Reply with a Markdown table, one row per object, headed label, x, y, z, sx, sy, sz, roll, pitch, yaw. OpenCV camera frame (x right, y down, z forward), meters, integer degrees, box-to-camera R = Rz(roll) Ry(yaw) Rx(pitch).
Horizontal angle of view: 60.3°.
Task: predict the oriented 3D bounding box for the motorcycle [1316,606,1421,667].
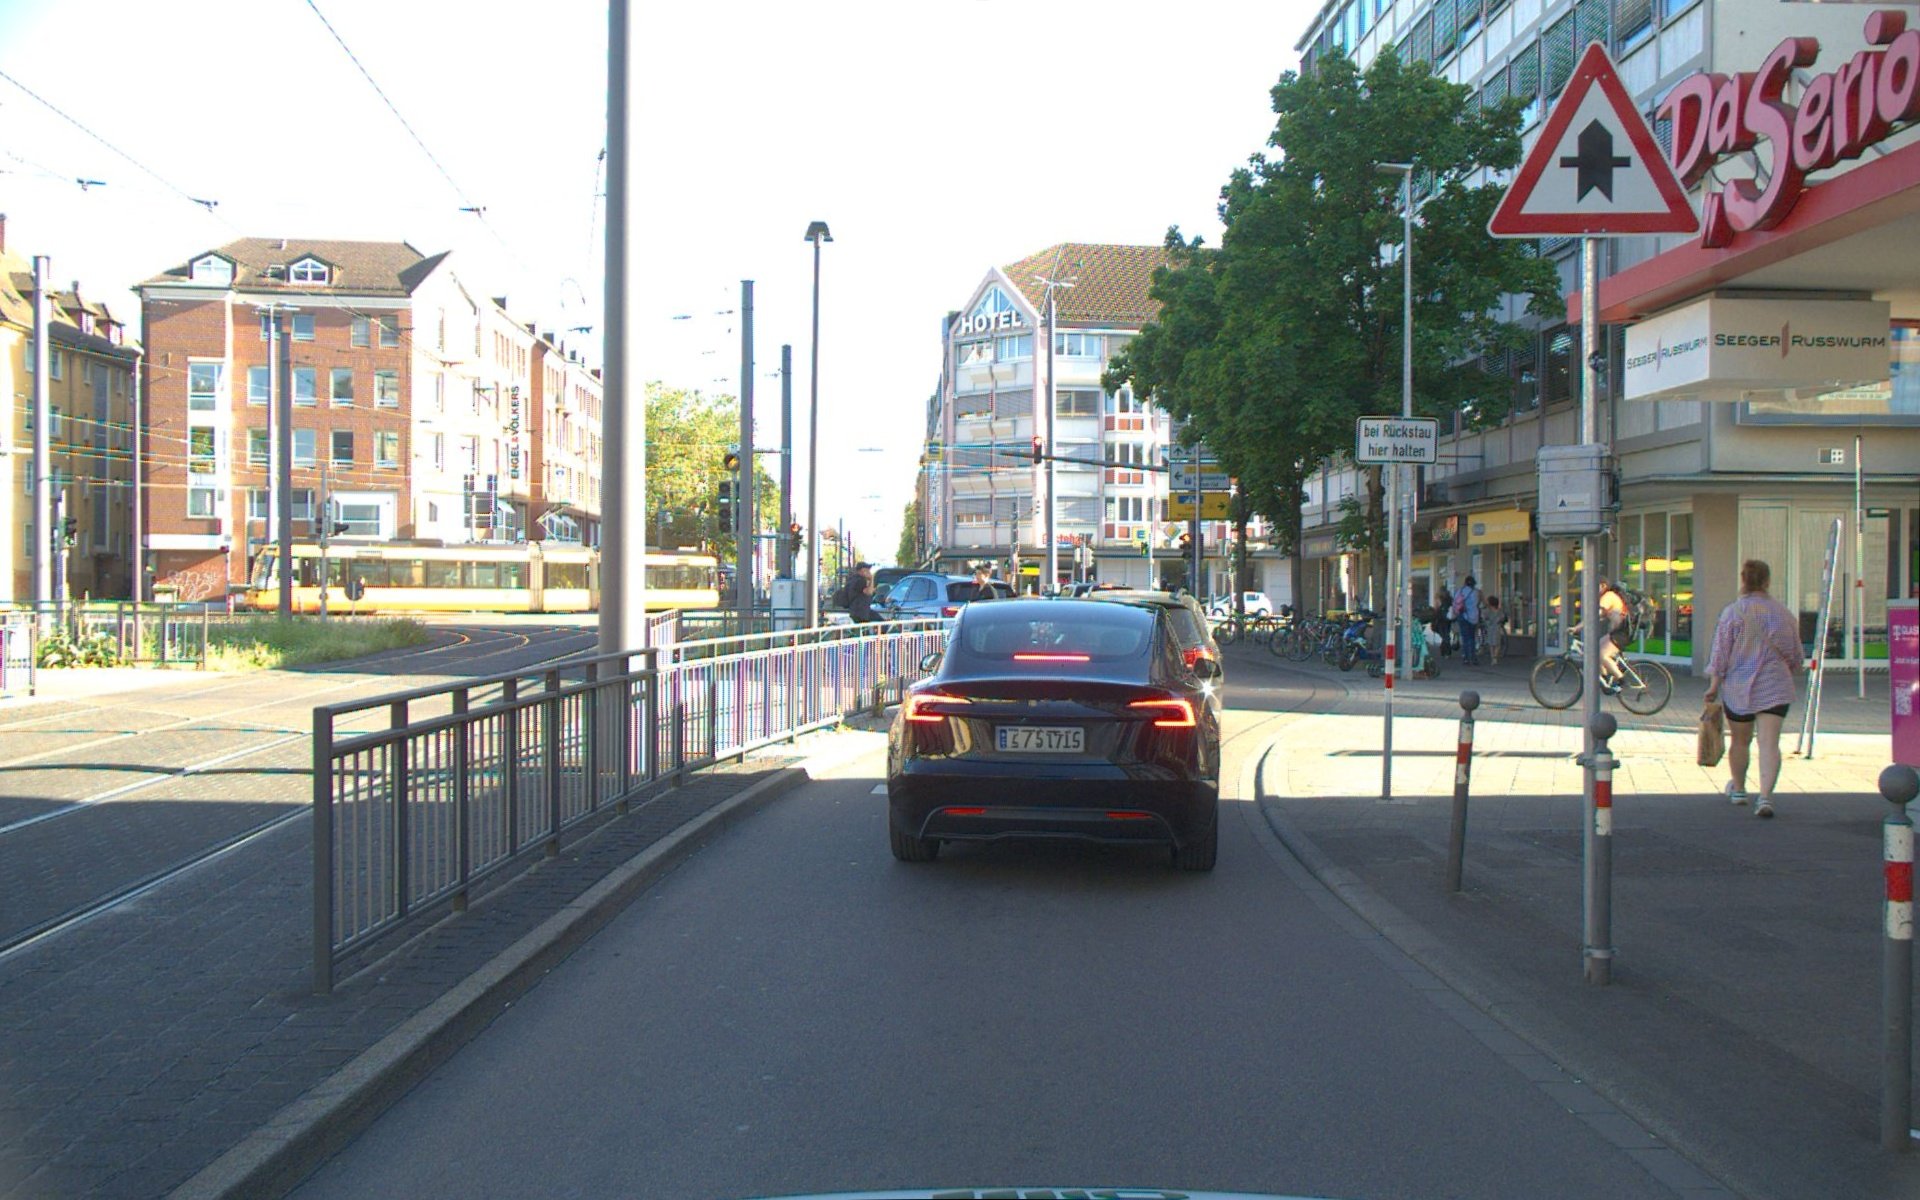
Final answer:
| label | x | y | z | sx | sy | sz | roll | pitch | yaw |
| --- | --- | --- | --- | --- | --- | --- | --- | --- | --- |
| motorcycle | 8.287 | 0.735 | 33.597 | 1.951 | 1.147 | 0.596 | 2 | 0 | -2 |

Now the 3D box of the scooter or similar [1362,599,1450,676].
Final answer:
| label | x | y | z | sx | sy | sz | roll | pitch | yaw |
| --- | --- | --- | --- | --- | --- | --- | --- | --- | --- |
| scooter or similar | 7.861 | 0.661 | 29.146 | 1.392 | 1.340 | 0.690 | 1 | -2 | -28 |

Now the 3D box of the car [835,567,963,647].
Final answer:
| label | x | y | z | sx | sy | sz | roll | pitch | yaw |
| --- | --- | --- | --- | --- | --- | --- | --- | --- | --- |
| car | -1.358 | 0.123 | 34.999 | 1.794 | 1.545 | 4.201 | 2 | 0 | -15 |

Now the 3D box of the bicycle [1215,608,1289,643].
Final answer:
| label | x | y | z | sx | sy | sz | roll | pitch | yaw |
| --- | --- | --- | --- | --- | --- | --- | --- | --- | --- |
| bicycle | 7.906 | 0.693 | 44.803 | 1.885 | 0.906 | 0.526 | 1 | 0 | -1 |

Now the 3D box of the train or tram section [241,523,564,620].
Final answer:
| label | x | y | z | sx | sy | sz | roll | pitch | yaw |
| --- | --- | --- | --- | --- | --- | --- | --- | --- | --- |
| train or tram section | -24.841 | -1.149 | 74.913 | 14.085 | 3.780 | 2.639 | 2 | 0 | -45 |

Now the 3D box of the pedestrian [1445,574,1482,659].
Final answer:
| label | x | y | z | sx | sy | sz | roll | pitch | yaw |
| --- | --- | --- | --- | --- | --- | --- | --- | --- | --- |
| pedestrian | 10.016 | 0.329 | 32.930 | 0.583 | 1.670 | 0.466 | 0 | 0 | -1 |

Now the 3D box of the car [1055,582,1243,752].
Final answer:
| label | x | y | z | sx | sy | sz | roll | pitch | yaw |
| --- | --- | --- | --- | --- | --- | --- | --- | --- | --- |
| car | 1.968 | 0.574 | 16.764 | 1.618 | 1.443 | 4.003 | 2 | 1 | 8 |

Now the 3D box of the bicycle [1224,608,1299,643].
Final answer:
| label | x | y | z | sx | sy | sz | roll | pitch | yaw |
| --- | --- | --- | --- | --- | --- | --- | --- | --- | --- |
| bicycle | 7.988 | 0.673 | 43.820 | 1.885 | 0.906 | 0.526 | 1 | 0 | -1 |

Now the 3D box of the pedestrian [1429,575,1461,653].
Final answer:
| label | x | y | z | sx | sy | sz | roll | pitch | yaw |
| --- | --- | --- | --- | --- | --- | --- | --- | --- | --- |
| pedestrian | 10.586 | 0.300 | 36.102 | 0.520 | 1.670 | 0.606 | 0 | 0 | -1 |

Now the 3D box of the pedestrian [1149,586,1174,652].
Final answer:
| label | x | y | z | sx | sy | sz | roll | pitch | yaw |
| --- | --- | --- | --- | --- | --- | --- | --- | --- | --- |
| pedestrian | 5.331 | 0.495 | 43.728 | 0.550 | 1.712 | 0.750 | 1 | 0 | 3 |

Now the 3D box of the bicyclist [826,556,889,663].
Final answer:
| label | x | y | z | sx | sy | sz | roll | pitch | yaw |
| --- | --- | --- | --- | --- | --- | --- | --- | --- | --- |
| bicyclist | -1.518 | 0.137 | 24.443 | 0.821 | 1.526 | 0.559 | 2 | 0 | -10 |

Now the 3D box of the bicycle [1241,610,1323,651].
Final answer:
| label | x | y | z | sx | sy | sz | roll | pitch | yaw |
| --- | --- | --- | --- | --- | --- | --- | --- | --- | --- |
| bicycle | 7.907 | 0.737 | 40.647 | 1.885 | 0.967 | 0.526 | 1 | 0 | -1 |

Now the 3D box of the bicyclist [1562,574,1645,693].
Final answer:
| label | x | y | z | sx | sy | sz | roll | pitch | yaw |
| --- | --- | --- | --- | --- | --- | --- | --- | --- | --- |
| bicyclist | 8.259 | 0.422 | 21.263 | 0.888 | 1.463 | 0.629 | 2 | 0 | 16 |

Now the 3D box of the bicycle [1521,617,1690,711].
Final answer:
| label | x | y | z | sx | sy | sz | roll | pitch | yaw |
| --- | --- | --- | --- | --- | --- | --- | --- | --- | --- |
| bicycle | 8.277 | 0.807 | 21.295 | 1.931 | 1.091 | 0.775 | 2 | 0 | 17 |

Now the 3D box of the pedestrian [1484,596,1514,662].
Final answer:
| label | x | y | z | sx | sy | sz | roll | pitch | yaw |
| --- | --- | --- | --- | --- | --- | --- | --- | --- | --- |
| pedestrian | 10.724 | 0.564 | 32.892 | 0.411 | 1.303 | 0.531 | 0 | 0 | -1 |

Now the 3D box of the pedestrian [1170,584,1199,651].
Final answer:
| label | x | y | z | sx | sy | sz | roll | pitch | yaw |
| --- | --- | --- | --- | --- | --- | --- | --- | --- | --- |
| pedestrian | 5.619 | 0.434 | 41.438 | 0.616 | 1.642 | 0.643 | 1 | 0 | 1 |

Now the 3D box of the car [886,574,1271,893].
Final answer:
| label | x | y | z | sx | sy | sz | roll | pitch | yaw |
| --- | --- | --- | --- | --- | --- | --- | --- | --- | --- |
| car | 0.501 | 0.656 | 9.962 | 1.812 | 1.510 | 3.785 | 2 | 0 | -3 |

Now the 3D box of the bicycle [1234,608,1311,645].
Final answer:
| label | x | y | z | sx | sy | sz | roll | pitch | yaw |
| --- | --- | --- | --- | --- | --- | --- | --- | --- | --- |
| bicycle | 8.080 | 0.685 | 42.789 | 1.885 | 0.903 | 0.526 | 1 | 0 | -1 |

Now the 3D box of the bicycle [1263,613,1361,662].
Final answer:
| label | x | y | z | sx | sy | sz | roll | pitch | yaw |
| --- | --- | --- | --- | --- | --- | --- | --- | --- | --- |
| bicycle | 7.600 | 0.807 | 35.743 | 2.010 | 0.999 | 0.483 | 1 | 0 | -1 |

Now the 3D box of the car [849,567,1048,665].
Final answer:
| label | x | y | z | sx | sy | sz | roll | pitch | yaw |
| --- | --- | --- | --- | --- | --- | --- | --- | --- | --- |
| car | -0.285 | 0.232 | 28.791 | 1.762 | 1.545 | 4.182 | 2 | 0 | -27 |

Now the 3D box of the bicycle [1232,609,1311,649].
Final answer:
| label | x | y | z | sx | sy | sz | roll | pitch | yaw |
| --- | --- | --- | --- | --- | --- | --- | --- | --- | --- |
| bicycle | 7.841 | 0.734 | 41.660 | 1.885 | 0.967 | 0.526 | 1 | 0 | -1 |

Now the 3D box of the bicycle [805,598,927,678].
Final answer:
| label | x | y | z | sx | sy | sz | roll | pitch | yaw |
| --- | --- | --- | --- | --- | --- | --- | --- | --- | --- |
| bicycle | -1.398 | 0.558 | 24.417 | 1.696 | 1.107 | 0.676 | 2 | 0 | -10 |

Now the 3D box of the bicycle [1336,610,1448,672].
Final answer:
| label | x | y | z | sx | sy | sz | roll | pitch | yaw |
| --- | --- | --- | --- | --- | --- | --- | --- | --- | --- |
| bicycle | 8.244 | 0.780 | 31.577 | 2.010 | 1.141 | 0.482 | 1 | 0 | -1 |

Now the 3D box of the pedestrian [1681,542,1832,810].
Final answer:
| label | x | y | z | sx | sy | sz | roll | pitch | yaw |
| --- | --- | --- | --- | --- | --- | --- | --- | --- | --- |
| pedestrian | 5.356 | 0.491 | 11.167 | 0.800 | 1.712 | 0.714 | 2 | 0 | 21 |

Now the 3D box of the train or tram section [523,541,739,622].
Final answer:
| label | x | y | z | sx | sy | sz | roll | pitch | yaw |
| --- | --- | --- | --- | --- | --- | --- | --- | --- | --- |
| train or tram section | -16.812 | -0.828 | 86.649 | 2.584 | 3.783 | 15.377 | 2 | 0 | 24 |

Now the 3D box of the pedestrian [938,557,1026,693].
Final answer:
| label | x | y | z | sx | sy | sz | roll | pitch | yaw |
| --- | --- | --- | --- | --- | --- | --- | --- | --- | --- |
| pedestrian | 0.293 | 0.335 | 22.037 | 0.992 | 1.772 | 0.524 | 2 | 0 | -27 |

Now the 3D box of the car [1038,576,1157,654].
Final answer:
| label | x | y | z | sx | sy | sz | roll | pitch | yaw |
| --- | --- | --- | --- | --- | --- | --- | --- | --- | --- |
| car | 2.915 | 0.301 | 35.795 | 1.790 | 1.545 | 3.643 | 2 | 0 | -7 |

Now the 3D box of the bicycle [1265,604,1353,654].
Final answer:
| label | x | y | z | sx | sy | sz | roll | pitch | yaw |
| --- | --- | --- | --- | --- | --- | --- | --- | --- | --- |
| bicycle | 7.936 | 0.656 | 37.656 | 1.885 | 1.116 | 0.554 | 1 | 0 | -1 |
